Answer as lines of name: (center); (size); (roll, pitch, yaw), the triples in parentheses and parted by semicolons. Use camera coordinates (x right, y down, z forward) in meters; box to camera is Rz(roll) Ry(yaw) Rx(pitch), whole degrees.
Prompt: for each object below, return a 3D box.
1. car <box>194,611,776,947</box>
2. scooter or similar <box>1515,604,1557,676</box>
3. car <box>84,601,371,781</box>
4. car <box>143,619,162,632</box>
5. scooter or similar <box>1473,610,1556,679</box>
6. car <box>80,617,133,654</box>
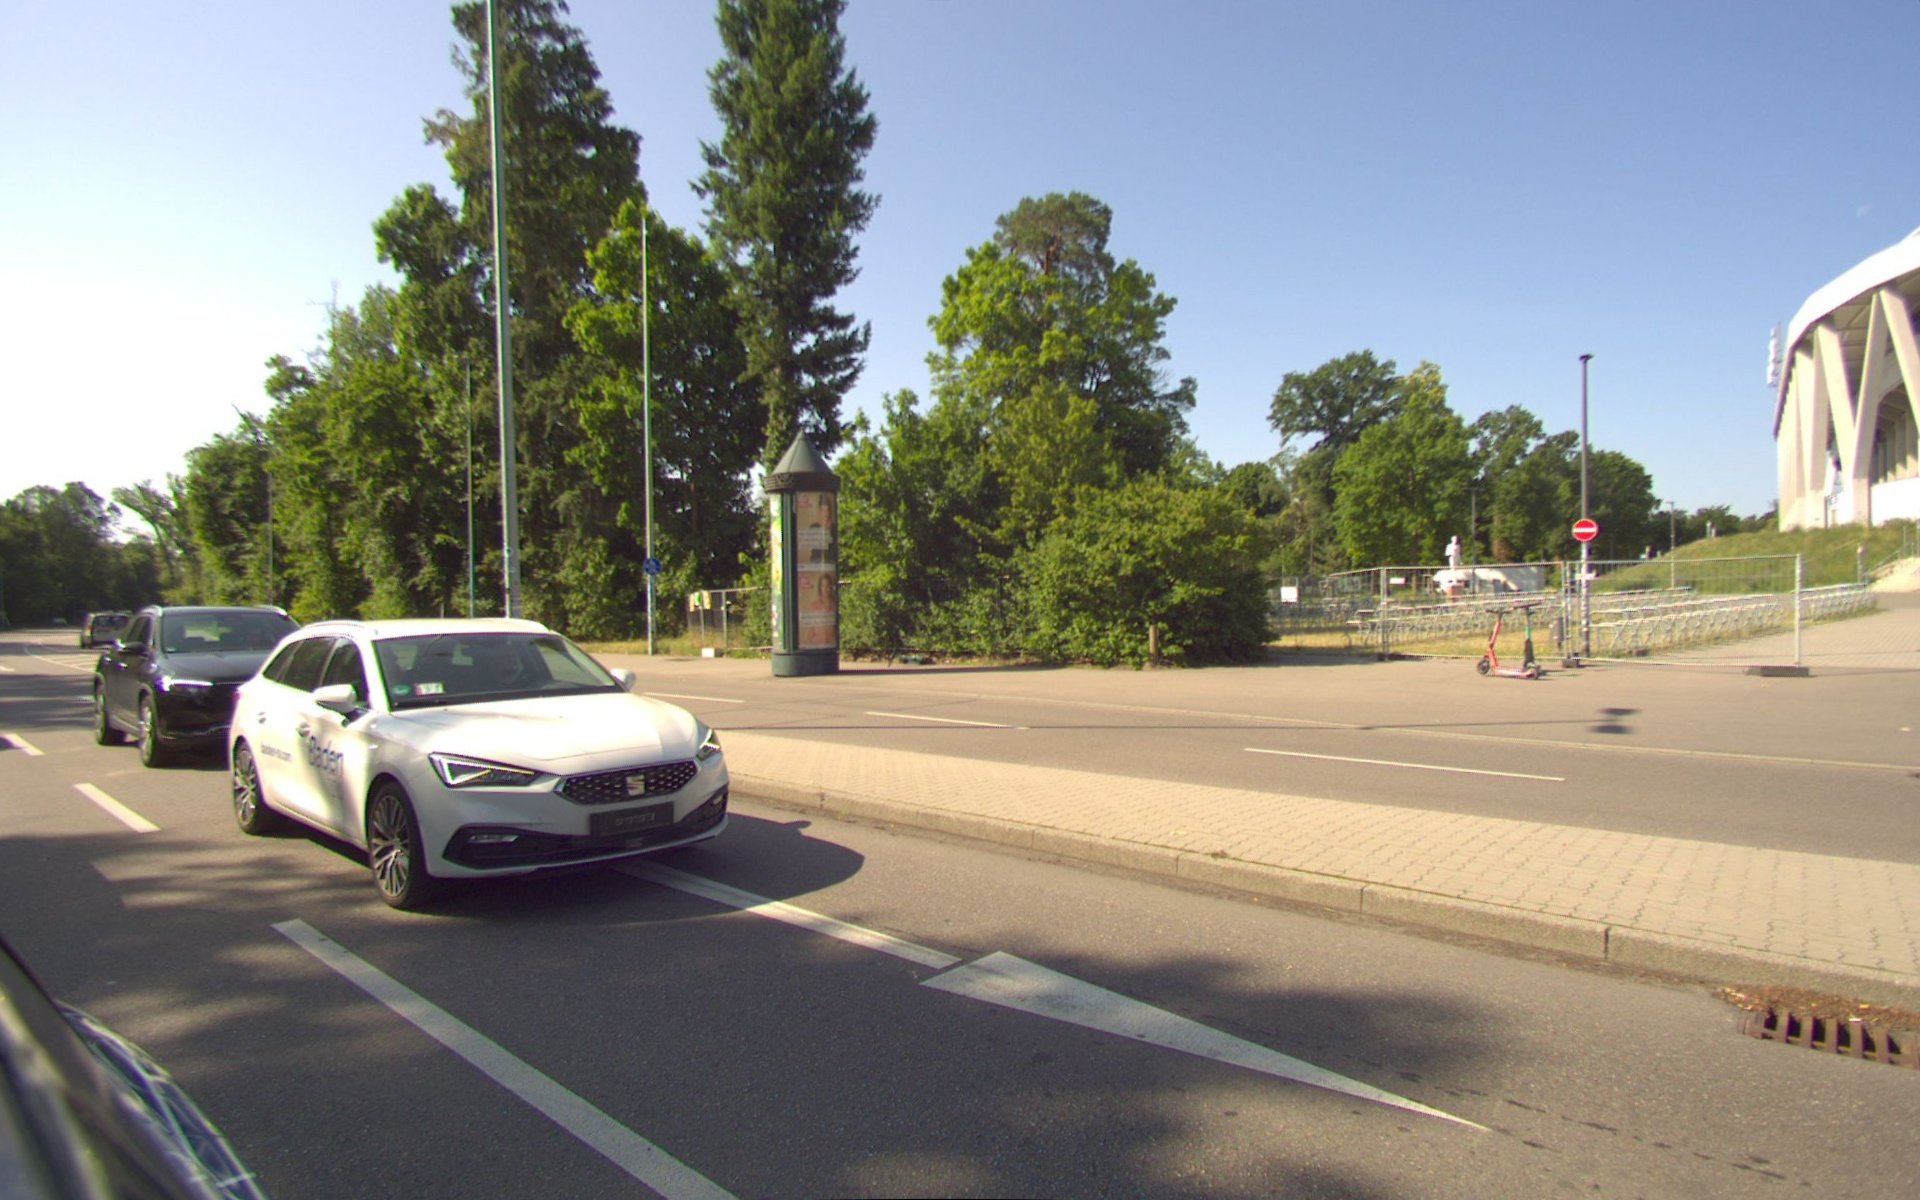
car: (-3.350, 0.823, 6.573); (4.718, 1.437, 1.707); (-1, -1, 42)
scooter or similar: (10.326, 0.701, 18.167); (0.392, 1.231, 1.076); (-1, 0, 16)
car: (-8.263, 0.886, 11.252); (4.273, 1.608, 1.785); (-2, -1, 43)
car: (-103.140, 3.260, 129.299); (1.829, 1.630, 4.007); (-1, 0, -39)
scooter or similar: (9.659, 0.768, 17.649); (0.390, 1.154, 1.197); (-1, 0, -44)
car: (-45.645, 1.881, 54.092); (1.851, 1.874, 4.002); (-1, 0, -45)
